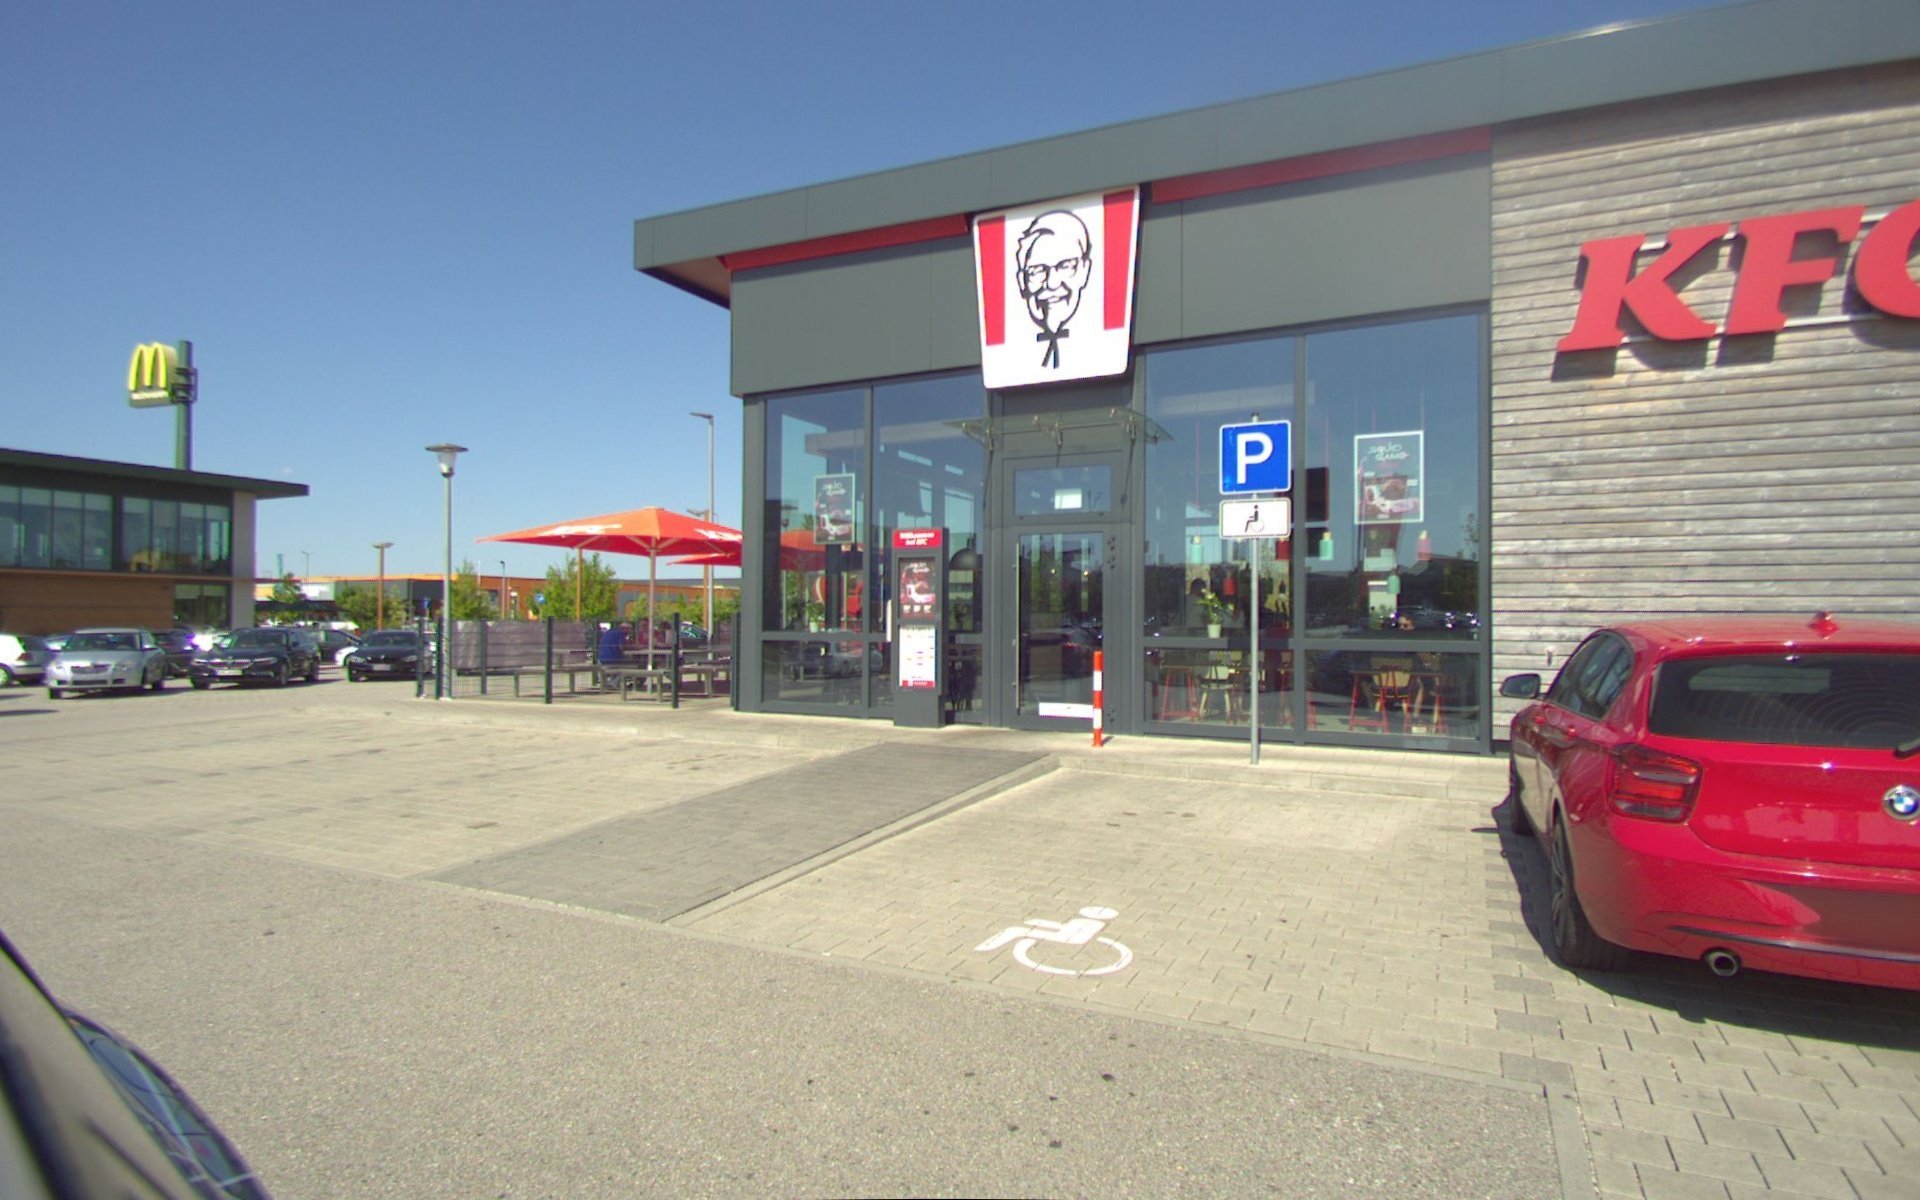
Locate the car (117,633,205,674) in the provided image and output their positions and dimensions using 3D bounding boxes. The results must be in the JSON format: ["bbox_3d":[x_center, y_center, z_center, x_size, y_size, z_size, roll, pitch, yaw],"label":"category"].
[{"bbox_3d":[-33.693,2.227,42.811,1.687,1.625,4.049,0,-2,-19],"label":"car"}]

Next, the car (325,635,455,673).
[{"bbox_3d":[-24.452,2.285,43.594,4.565,1.498,1.901,0,-2,-17],"label":"car"}]

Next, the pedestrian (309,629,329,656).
[{"bbox_3d":[-37.815,2.478,59.720,0.718,1.571,0.695,-1,-2,27],"label":"pedestrian"}]

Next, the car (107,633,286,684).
[{"bbox_3d":[-24.342,1.839,32.443,4.207,1.498,1.819,0,-2,-17],"label":"car"}]

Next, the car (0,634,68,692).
[{"bbox_3d":[-26.560,1.684,26.815,4.044,1.504,1.717,0,-2,-17],"label":"car"}]

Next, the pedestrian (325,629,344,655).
[{"bbox_3d":[-37.619,2.519,60.908,0.718,1.571,0.695,-1,-2,27],"label":"pedestrian"}]

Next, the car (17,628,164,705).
[{"bbox_3d":[-19.256,1.421,22.610,1.942,1.538,4.218,1,-3,-33],"label":"car"}]

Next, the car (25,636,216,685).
[{"bbox_3d":[-28.147,1.993,34.104,4.565,1.498,1.901,0,-2,-17],"label":"car"}]

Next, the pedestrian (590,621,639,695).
[{"bbox_3d":[-6.160,1.033,18.078,0.607,1.283,0.622,-1,-2,10],"label":"pedestrian"}]

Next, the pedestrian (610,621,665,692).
[{"bbox_3d":[-5.999,1.046,18.865,0.678,1.283,0.839,-1,-2,10],"label":"pedestrian"}]

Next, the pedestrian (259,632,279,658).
[{"bbox_3d":[-41.279,2.689,60.451,0.691,1.571,0.722,-1,-2,-2],"label":"pedestrian"}]

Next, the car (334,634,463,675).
[{"bbox_3d":[-21.360,2.050,38.686,4.044,1.424,1.819,0,-2,-17],"label":"car"}]

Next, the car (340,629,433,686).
[{"bbox_3d":[-16.252,1.596,28.858,1.804,1.471,4.384,0,-2,-23],"label":"car"}]

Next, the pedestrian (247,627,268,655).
[{"bbox_3d":[-40.280,2.359,58.031,0.691,1.571,0.722,-1,-2,-2],"label":"pedestrian"}]

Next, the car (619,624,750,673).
[{"bbox_3d":[-9.446,1.656,34.762,4.230,1.603,1.862,1,-2,-16],"label":"car"}]

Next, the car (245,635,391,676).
[{"bbox_3d":[-25.517,2.185,40.412,4.565,1.498,1.901,0,-2,-17],"label":"car"}]

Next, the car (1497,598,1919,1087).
[{"bbox_3d":[3.778,0.730,4.908,1.730,1.423,4.365,-1,-1,24],"label":"car"}]

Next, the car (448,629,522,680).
[{"bbox_3d":[-14.864,1.683,31.871,1.805,1.471,4.599,0,-2,-21],"label":"car"}]

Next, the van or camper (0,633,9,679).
[{"bbox_3d":[-36.929,2.083,37.012,1.682,1.788,4.041,0,-2,-21],"label":"van or camper"}]

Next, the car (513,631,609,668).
[{"bbox_3d":[-17.834,2.186,45.411,3.931,1.564,1.760,0,-2,-20],"label":"car"}]

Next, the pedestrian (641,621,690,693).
[{"bbox_3d":[-5.367,1.028,18.454,0.678,1.283,0.549,-1,-2,11],"label":"pedestrian"}]

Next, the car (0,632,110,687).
[{"bbox_3d":[-27.223,1.693,28.958,4.044,1.527,1.819,0,-2,-17],"label":"car"}]

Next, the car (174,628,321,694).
[{"bbox_3d":[-18.029,1.511,25.881,1.941,1.498,4.798,0,-2,-21],"label":"car"}]

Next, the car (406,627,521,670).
[{"bbox_3d":[-20.388,1.981,41.743,4.044,1.687,1.819,0,-2,-17],"label":"car"}]
